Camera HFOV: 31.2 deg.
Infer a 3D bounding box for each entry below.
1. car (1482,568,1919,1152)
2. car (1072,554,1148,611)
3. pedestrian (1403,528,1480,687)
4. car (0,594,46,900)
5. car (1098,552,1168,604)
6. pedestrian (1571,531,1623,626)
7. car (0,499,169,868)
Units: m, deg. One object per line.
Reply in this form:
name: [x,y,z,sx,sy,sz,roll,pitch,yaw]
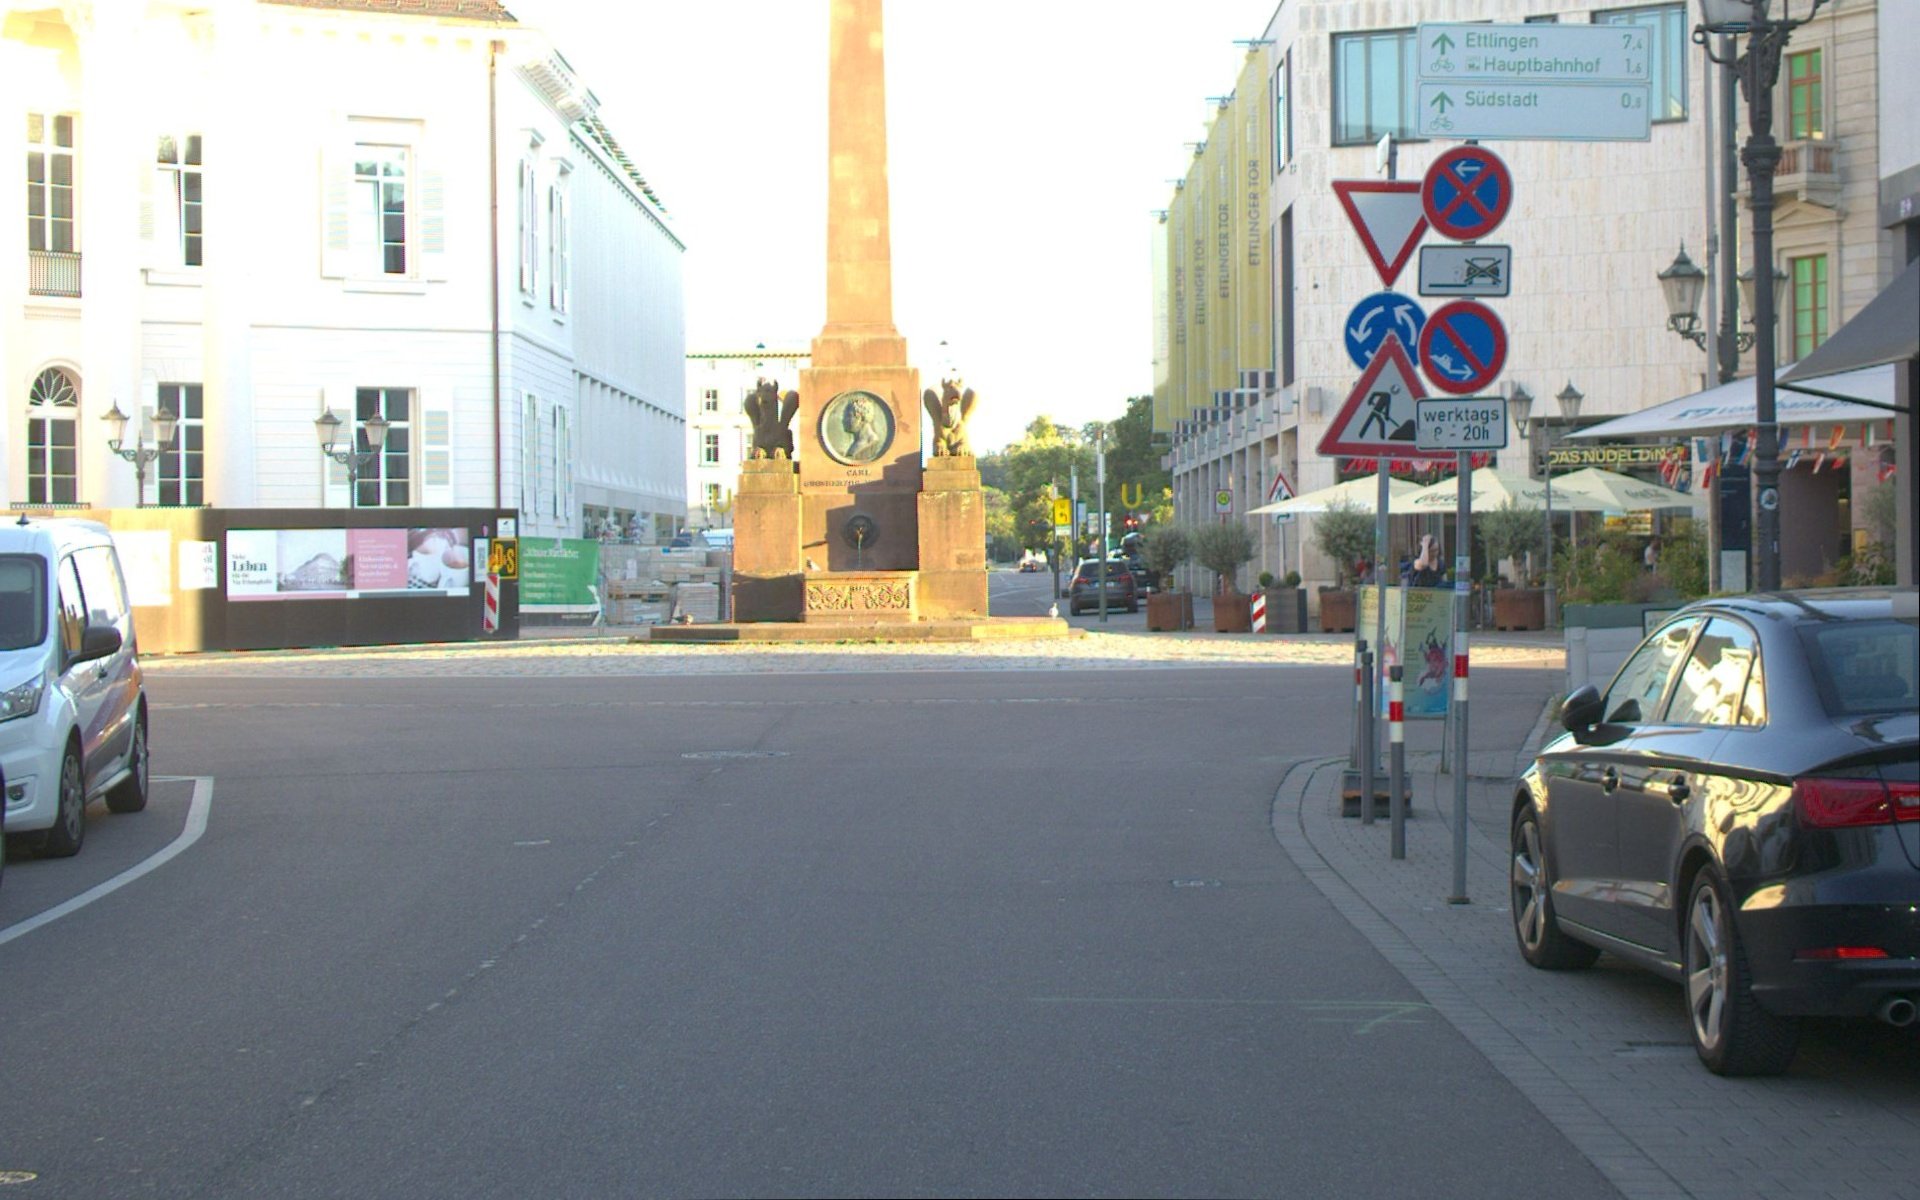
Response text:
car: [2.968,0.653,10.989,1.801,1.459,4.117,-1,1,-2]
car: [4.026,-0.488,92.488,1.993,1.459,4.000,0,1,2]
pedestrian: [5.041,0.070,36.030,0.690,1.642,0.696,-1,1,0]
car: [-5.075,0.686,14.104,1.677,1.349,4.106,0,1,-2]
car: [5.058,-0.662,100.953,1.993,1.459,4.000,0,1,2]
pedestrian: [11.703,-0.401,63.148,0.905,1.722,0.849,-1,1,9]
car: [-5.702,0.371,19.112,1.993,1.809,4.785,0,1,-6]
